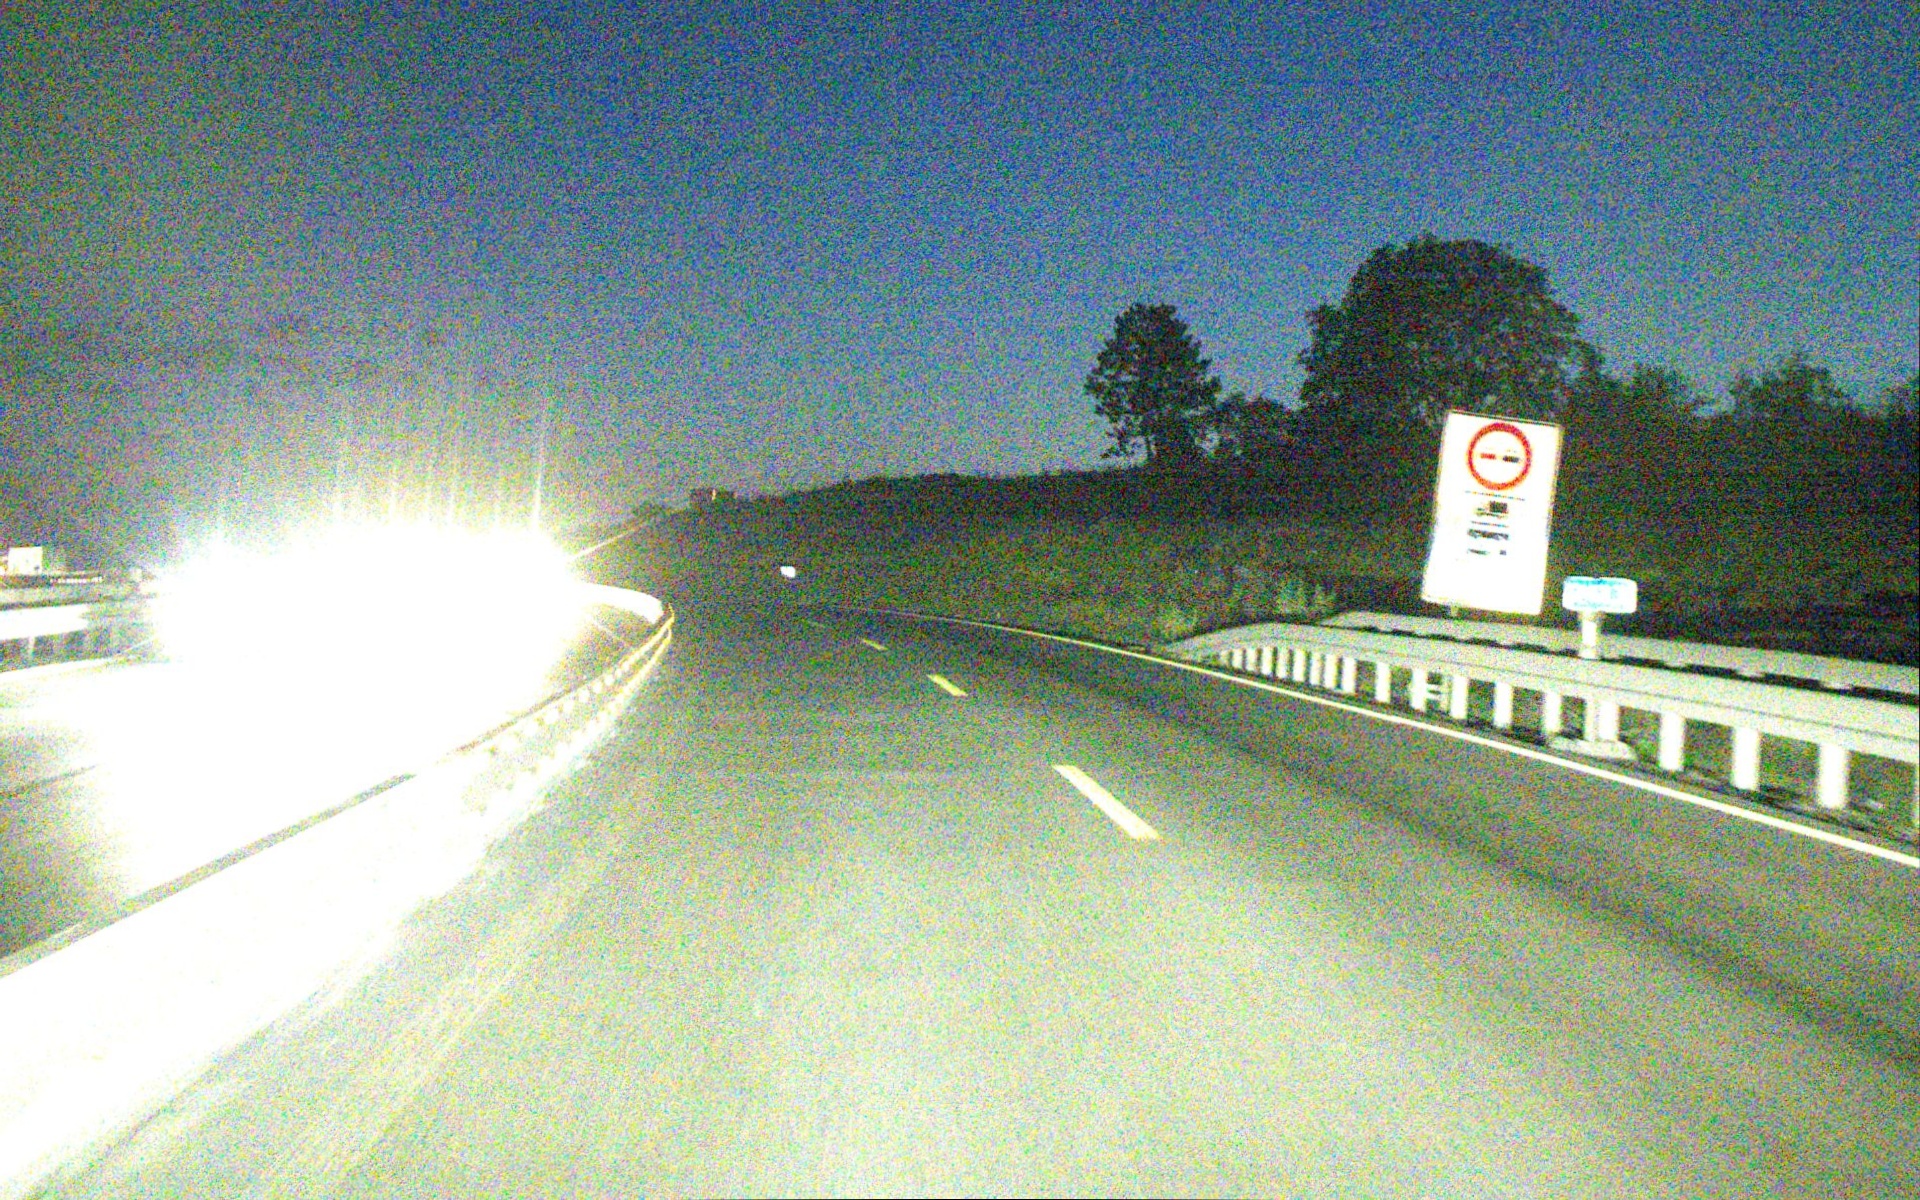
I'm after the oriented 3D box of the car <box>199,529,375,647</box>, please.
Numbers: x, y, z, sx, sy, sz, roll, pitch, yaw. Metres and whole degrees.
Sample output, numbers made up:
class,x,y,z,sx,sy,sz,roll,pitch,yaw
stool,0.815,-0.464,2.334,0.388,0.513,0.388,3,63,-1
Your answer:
class,x,y,z,sx,sy,sz,roll,pitch,yaw
car,-8.724,-0.159,44.870,1.712,1.438,4.488,-1,0,-4

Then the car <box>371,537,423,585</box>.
class,x,y,z,sx,sy,sz,roll,pitch,yaw
car,-24.607,-1.677,150.154,1.993,2.007,5.588,-1,0,-11

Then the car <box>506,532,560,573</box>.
class,x,y,z,sx,sy,sz,roll,pitch,yaw
car,-15.845,-1.754,127.338,1.651,1.464,4.001,-1,0,-12

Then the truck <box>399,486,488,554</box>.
class,x,y,z,sx,sy,sz,roll,pitch,yaw
truck,-36.931,-5.634,245.221,4.010,4.536,13.958,-1,0,-18

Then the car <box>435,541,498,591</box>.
class,x,y,z,sx,sy,sz,roll,pitch,yaw
car,-14.167,-0.964,98.496,1.716,1.375,4.244,1,0,-9
